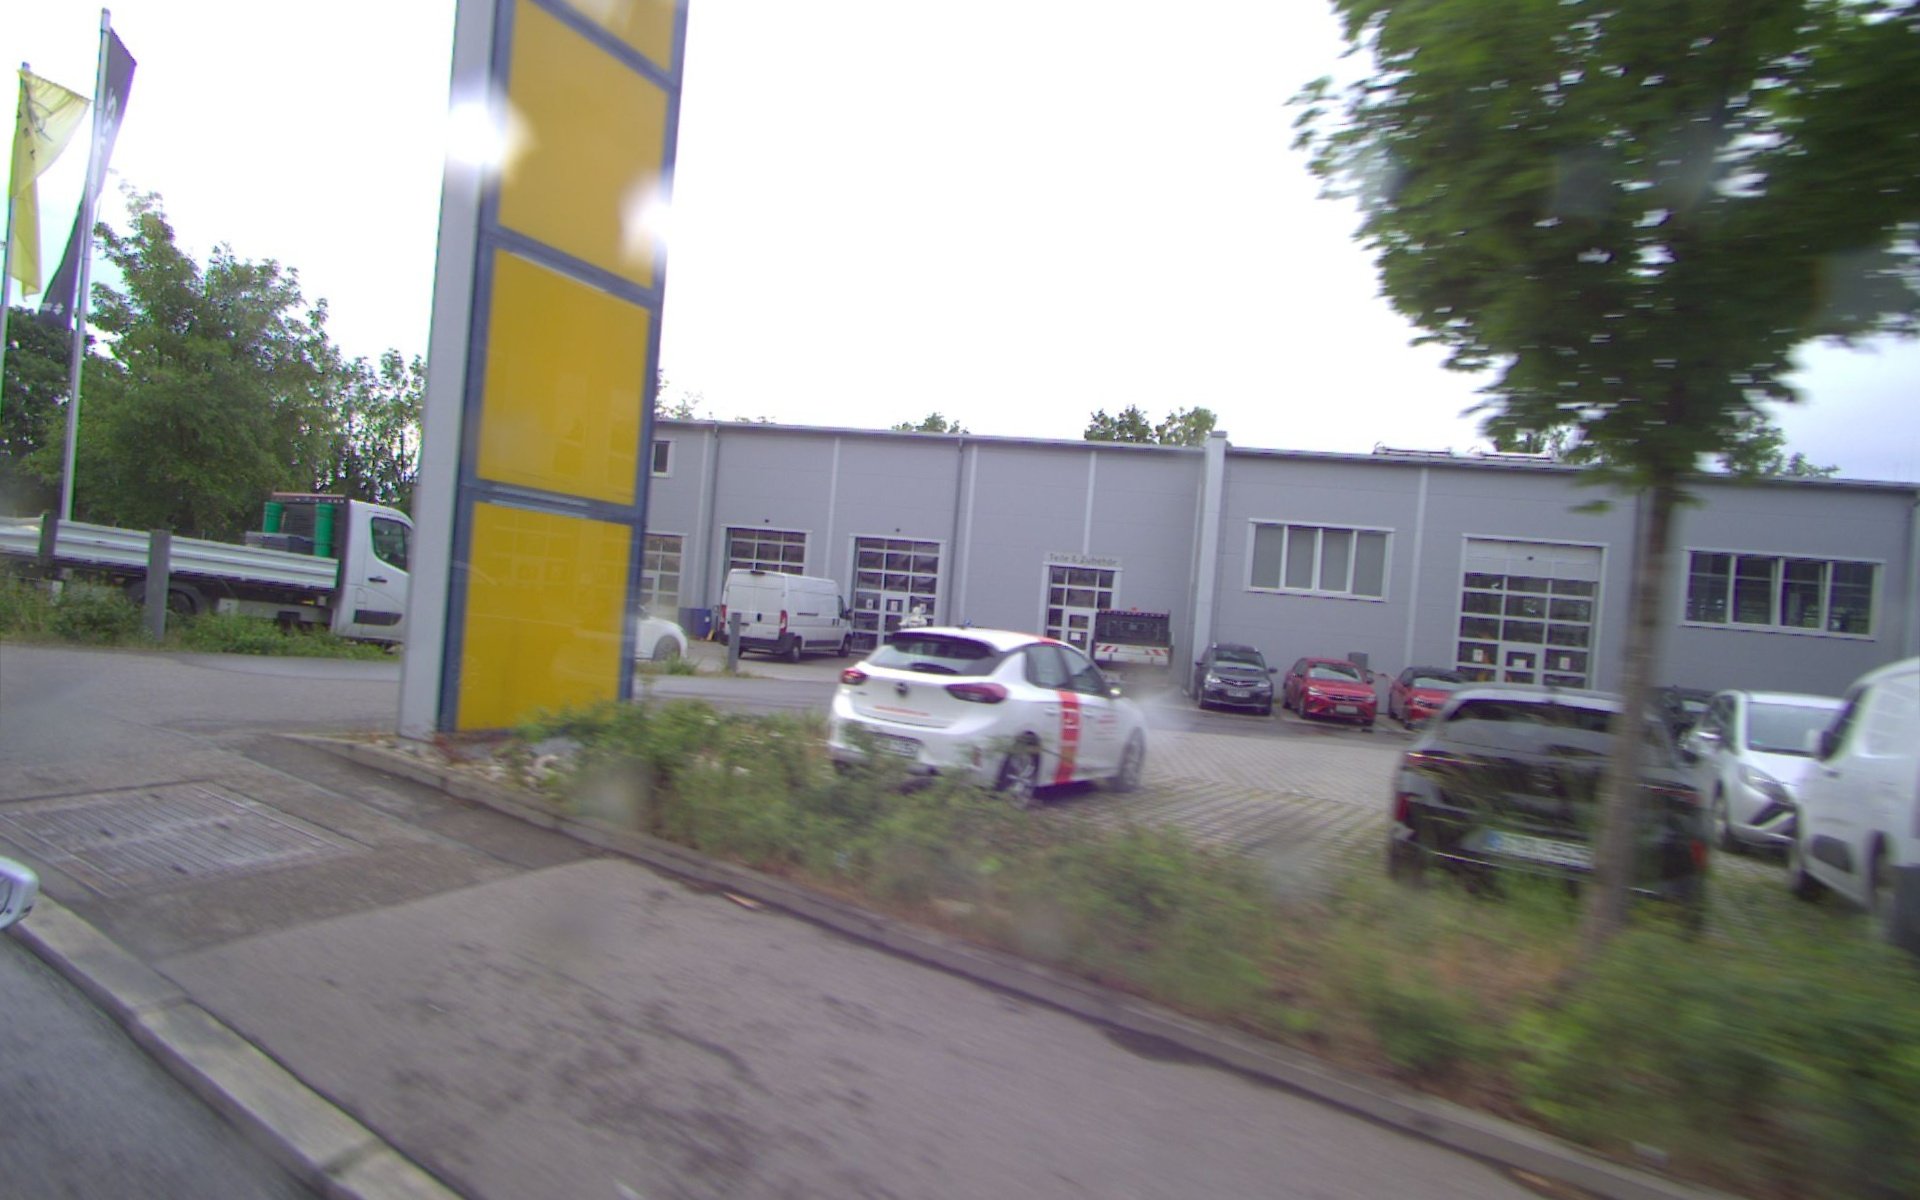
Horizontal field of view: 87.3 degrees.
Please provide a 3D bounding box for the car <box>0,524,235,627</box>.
[{"bbox_3d":[-16.065,-0.458,18.659,1.781,1.512,3.768,6,-1,33],"label":"car"}]

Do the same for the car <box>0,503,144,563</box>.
[{"bbox_3d":[-30.599,-2.283,34.181,1.772,1.540,3.997,6,-1,27],"label":"car"}]

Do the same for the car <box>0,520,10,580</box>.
[{"bbox_3d":[-26.596,-1.516,24.920,1.772,1.540,3.997,6,-1,27],"label":"car"}]

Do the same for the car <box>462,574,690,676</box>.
[{"bbox_3d":[-7.048,0.528,18.803,1.532,1.537,3.695,6,-1,32],"label":"car"}]

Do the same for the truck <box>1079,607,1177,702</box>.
[{"bbox_3d":[4.764,1.385,28.209,2.322,2.265,6.275,2,0,11],"label":"truck"}]

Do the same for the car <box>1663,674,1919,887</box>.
[{"bbox_3d":[8.959,1.758,10.757,1.835,1.660,4.146,6,-1,30],"label":"car"}]

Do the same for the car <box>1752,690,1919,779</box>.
[{"bbox_3d":[20.778,3.092,23.512,1.812,1.569,4.003,6,-1,12],"label":"car"}]

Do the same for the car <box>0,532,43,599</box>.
[{"bbox_3d":[-24.598,-1.018,23.709,1.774,1.540,3.993,6,-1,31],"label":"car"}]

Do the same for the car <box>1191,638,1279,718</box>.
[{"bbox_3d":[6.989,1.903,25.346,1.795,1.652,4.001,6,-1,18],"label":"car"}]

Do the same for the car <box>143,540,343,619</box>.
[{"bbox_3d":[-17.882,-0.471,25.254,1.532,1.537,3.695,6,-1,32],"label":"car"}]

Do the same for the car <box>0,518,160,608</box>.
[{"bbox_3d":[-19.993,-0.879,21.469,1.731,1.608,4.135,7,-1,32],"label":"car"}]

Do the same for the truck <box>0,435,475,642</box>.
[{"bbox_3d":[-9.813,-0.682,13.790,2.305,2.038,5.158,7,-1,29],"label":"truck"}]

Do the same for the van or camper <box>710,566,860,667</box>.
[{"bbox_3d":[-5.088,0.450,30.149,2.244,2.522,5.283,7,2,14],"label":"van or camper"}]

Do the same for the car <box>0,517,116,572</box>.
[{"bbox_3d":[-32.787,-2.013,35.598,1.772,1.540,3.997,6,-1,27],"label":"car"}]

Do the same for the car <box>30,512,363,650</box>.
[{"bbox_3d":[-11.792,-0.215,15.803,1.706,1.691,3.698,6,-1,28],"label":"car"}]

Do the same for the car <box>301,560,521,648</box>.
[{"bbox_3d":[-11.526,0.137,21.331,1.604,1.435,3.693,6,-1,34],"label":"car"}]

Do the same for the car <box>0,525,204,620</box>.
[{"bbox_3d":[-17.871,-0.573,20.084,1.731,1.526,3.993,7,-1,31],"label":"car"}]

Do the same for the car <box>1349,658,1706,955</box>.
[{"bbox_3d":[4.246,1.299,7.538,1.719,1.447,3.993,4,-3,32],"label":"car"}]

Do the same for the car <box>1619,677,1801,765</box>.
[{"bbox_3d":[17.441,2.753,23.652,1.805,1.442,4.000,5,0,12],"label":"car"}]

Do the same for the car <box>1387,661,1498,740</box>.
[{"bbox_3d":[11.672,2.375,24.570,1.795,1.526,4.001,6,-1,18],"label":"car"}]

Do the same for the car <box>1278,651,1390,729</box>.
[{"bbox_3d":[9.194,2.157,25.049,1.794,1.526,4.003,6,-1,10],"label":"car"}]

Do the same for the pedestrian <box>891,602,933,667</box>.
[{"bbox_3d":[-1.523,1.097,31.760,1.002,1.904,0.696,7,0,8],"label":"pedestrian"}]

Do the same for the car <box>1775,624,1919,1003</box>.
[{"bbox_3d":[6.573,1.262,6.278,1.814,1.868,4.131,3,-3,34],"label":"car"}]

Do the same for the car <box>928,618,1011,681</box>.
[{"bbox_3d":[0.362,1.446,30.025,1.790,1.570,3.905,6,-1,9],"label":"car"}]

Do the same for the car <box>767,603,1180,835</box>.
[{"bbox_3d":[0.365,0.981,9.229,1.864,1.446,3.991,7,0,32],"label":"car"}]
